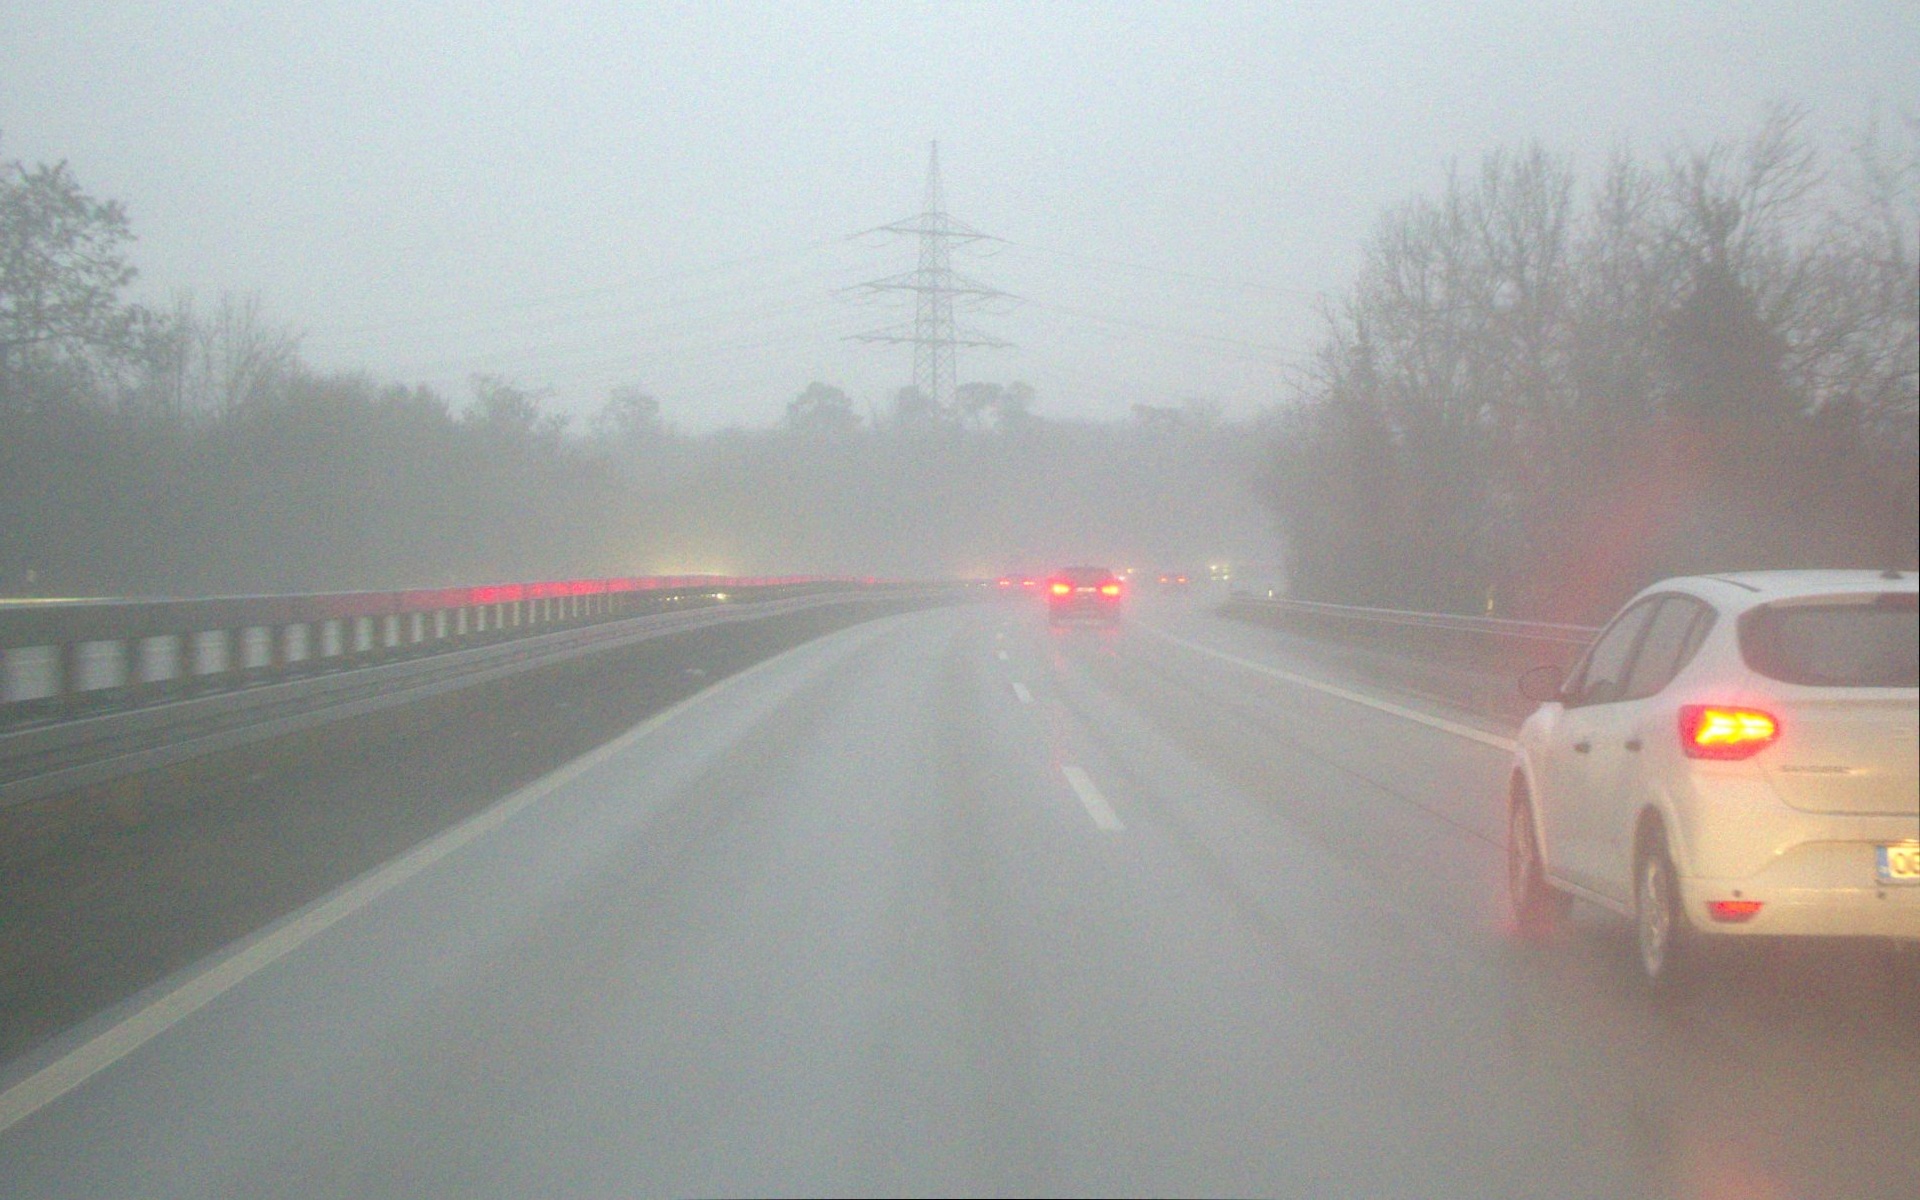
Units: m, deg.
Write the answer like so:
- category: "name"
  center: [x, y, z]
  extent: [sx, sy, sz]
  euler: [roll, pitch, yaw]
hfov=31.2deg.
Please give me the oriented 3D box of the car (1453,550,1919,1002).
- category: "car"
  center: [3.166, 0.566, 13.611]
  extent: [1.797, 1.498, 4.000]
  euler: [-1, 1, -1]
